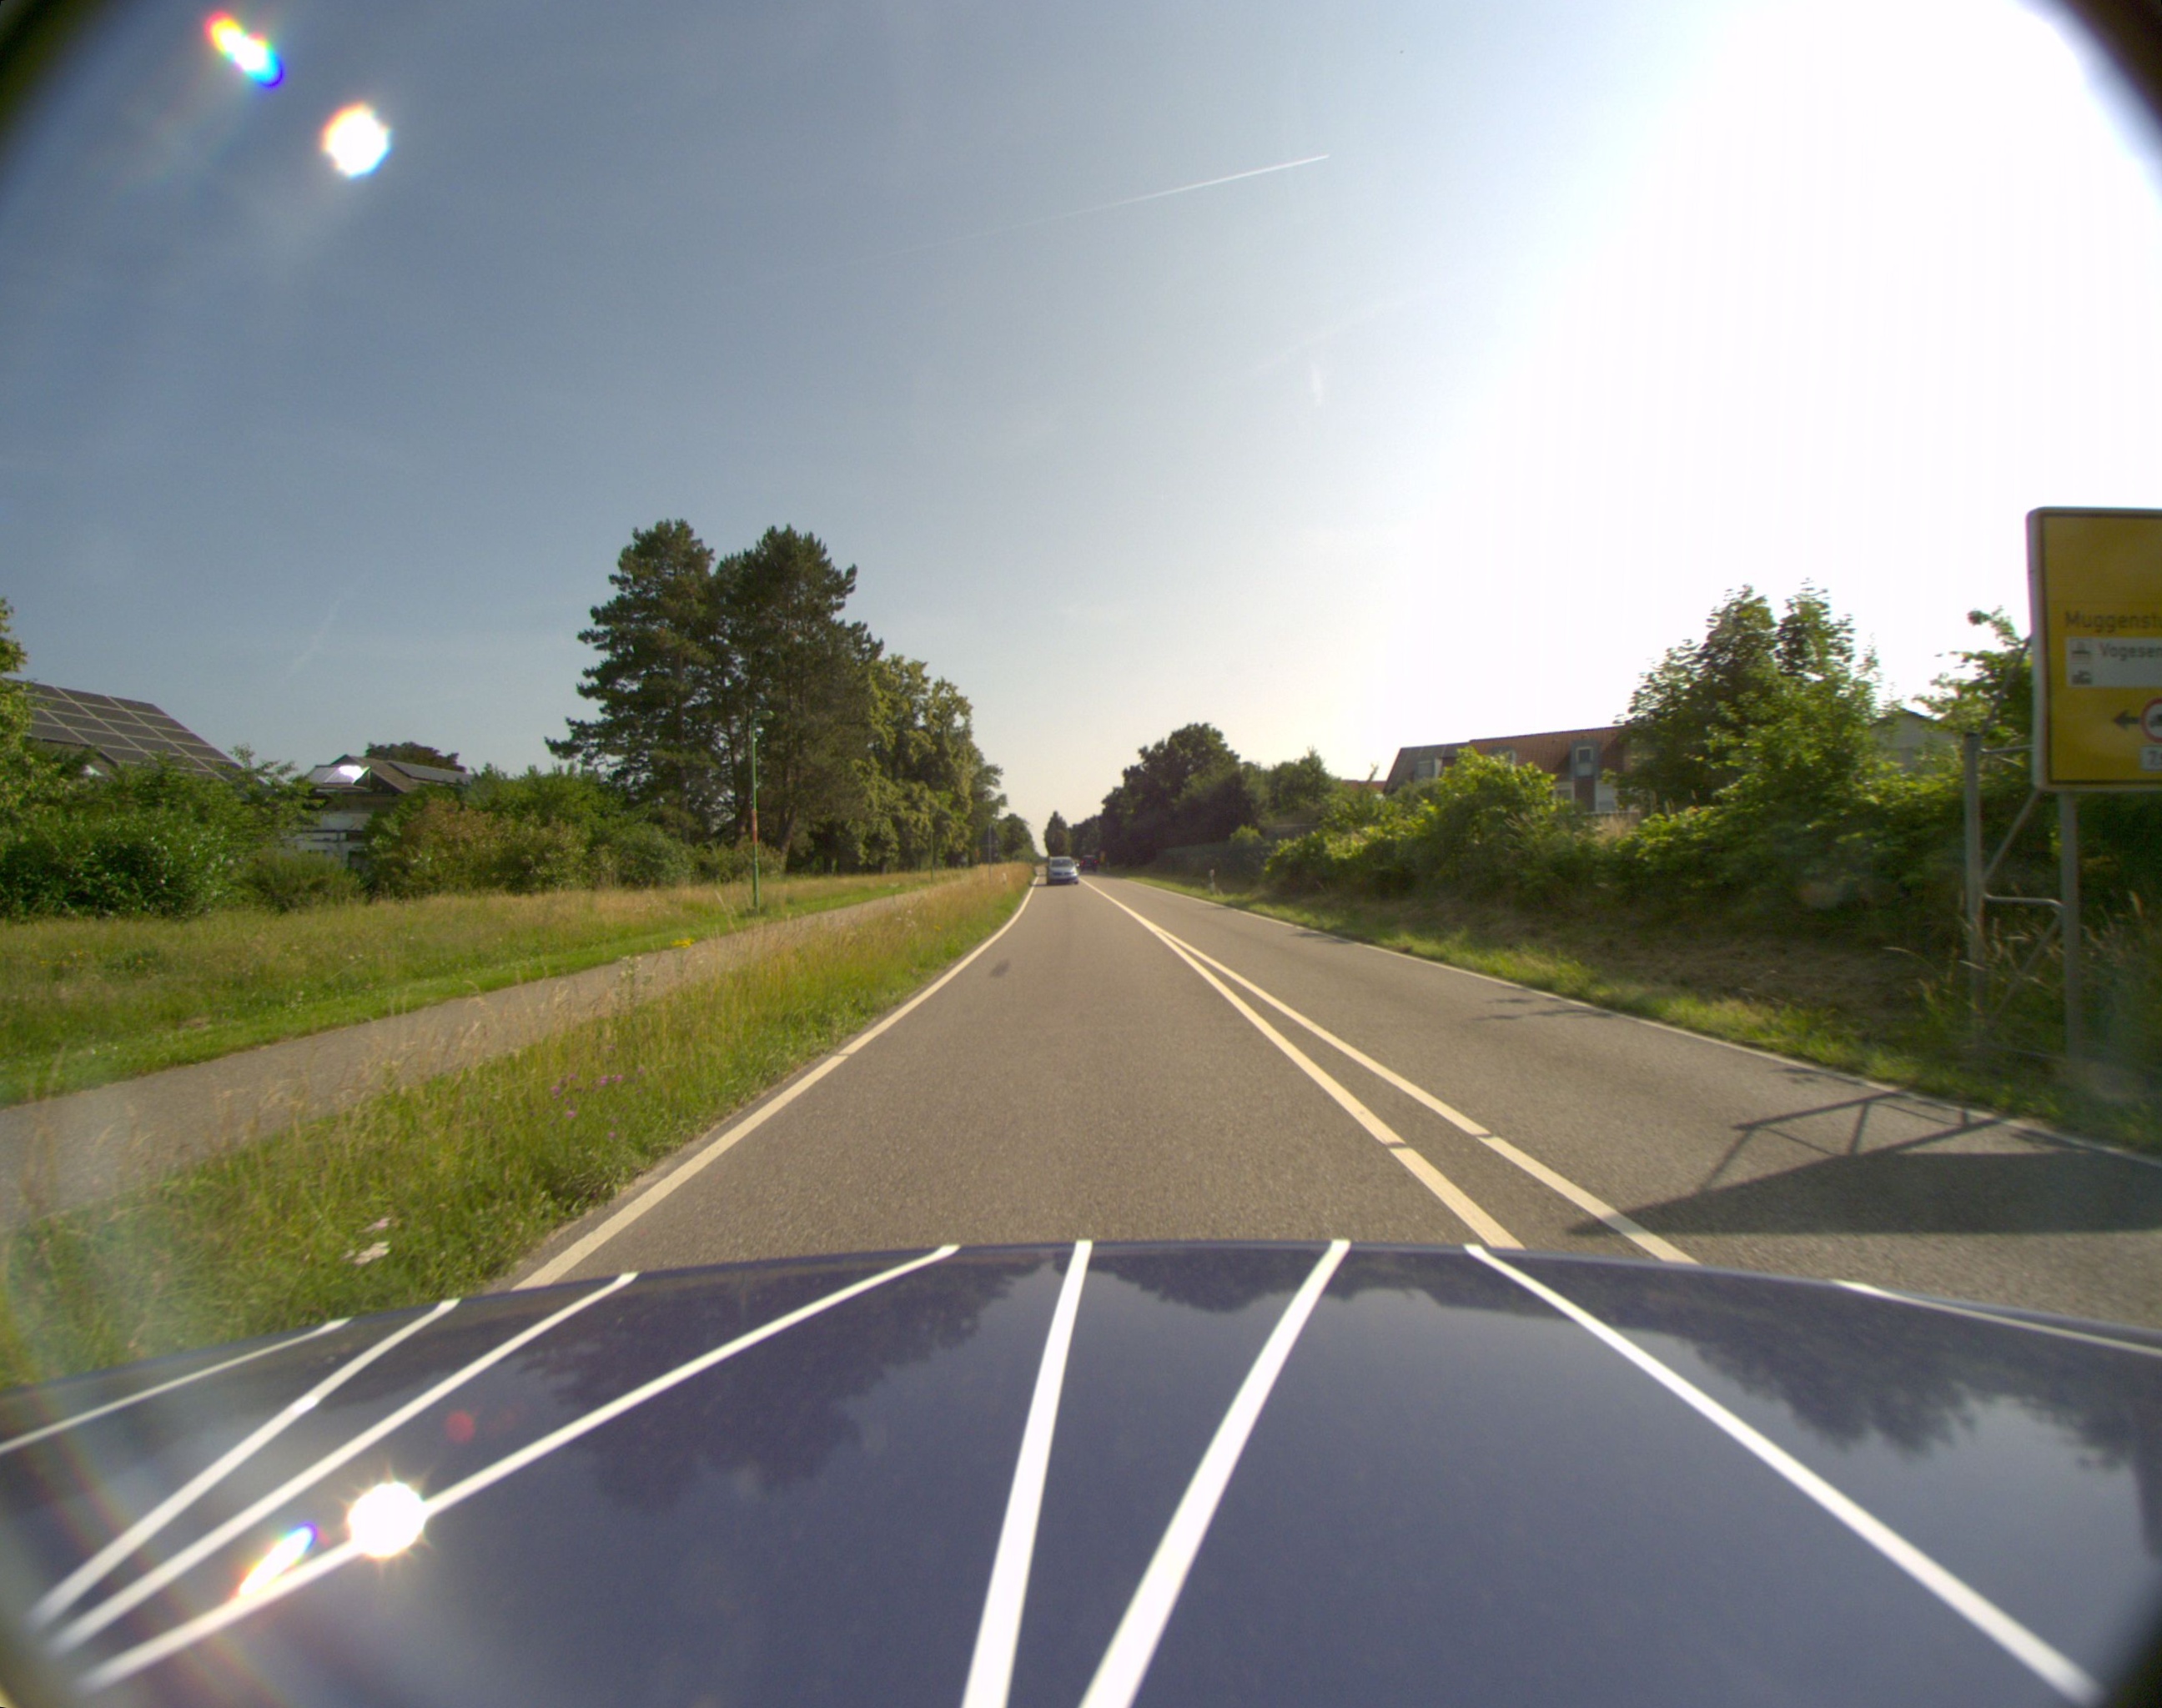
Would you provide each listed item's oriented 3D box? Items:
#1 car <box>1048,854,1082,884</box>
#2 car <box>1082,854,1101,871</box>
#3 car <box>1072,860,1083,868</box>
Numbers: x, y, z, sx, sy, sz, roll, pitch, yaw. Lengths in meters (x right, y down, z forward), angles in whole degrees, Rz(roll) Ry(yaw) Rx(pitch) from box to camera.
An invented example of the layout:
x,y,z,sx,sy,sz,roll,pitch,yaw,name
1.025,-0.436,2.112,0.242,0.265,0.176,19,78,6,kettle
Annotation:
x,y,z,sx,sy,sz,roll,pitch,yaw,name
-0.976,0.844,43.751,1.809,1.592,4.268,-1,0,-3,car
1.142,0.932,84.656,1.944,1.807,4.241,1,0,0,car
-0.711,1.789,142.475,1.875,1.415,4.575,1,0,-3,car
